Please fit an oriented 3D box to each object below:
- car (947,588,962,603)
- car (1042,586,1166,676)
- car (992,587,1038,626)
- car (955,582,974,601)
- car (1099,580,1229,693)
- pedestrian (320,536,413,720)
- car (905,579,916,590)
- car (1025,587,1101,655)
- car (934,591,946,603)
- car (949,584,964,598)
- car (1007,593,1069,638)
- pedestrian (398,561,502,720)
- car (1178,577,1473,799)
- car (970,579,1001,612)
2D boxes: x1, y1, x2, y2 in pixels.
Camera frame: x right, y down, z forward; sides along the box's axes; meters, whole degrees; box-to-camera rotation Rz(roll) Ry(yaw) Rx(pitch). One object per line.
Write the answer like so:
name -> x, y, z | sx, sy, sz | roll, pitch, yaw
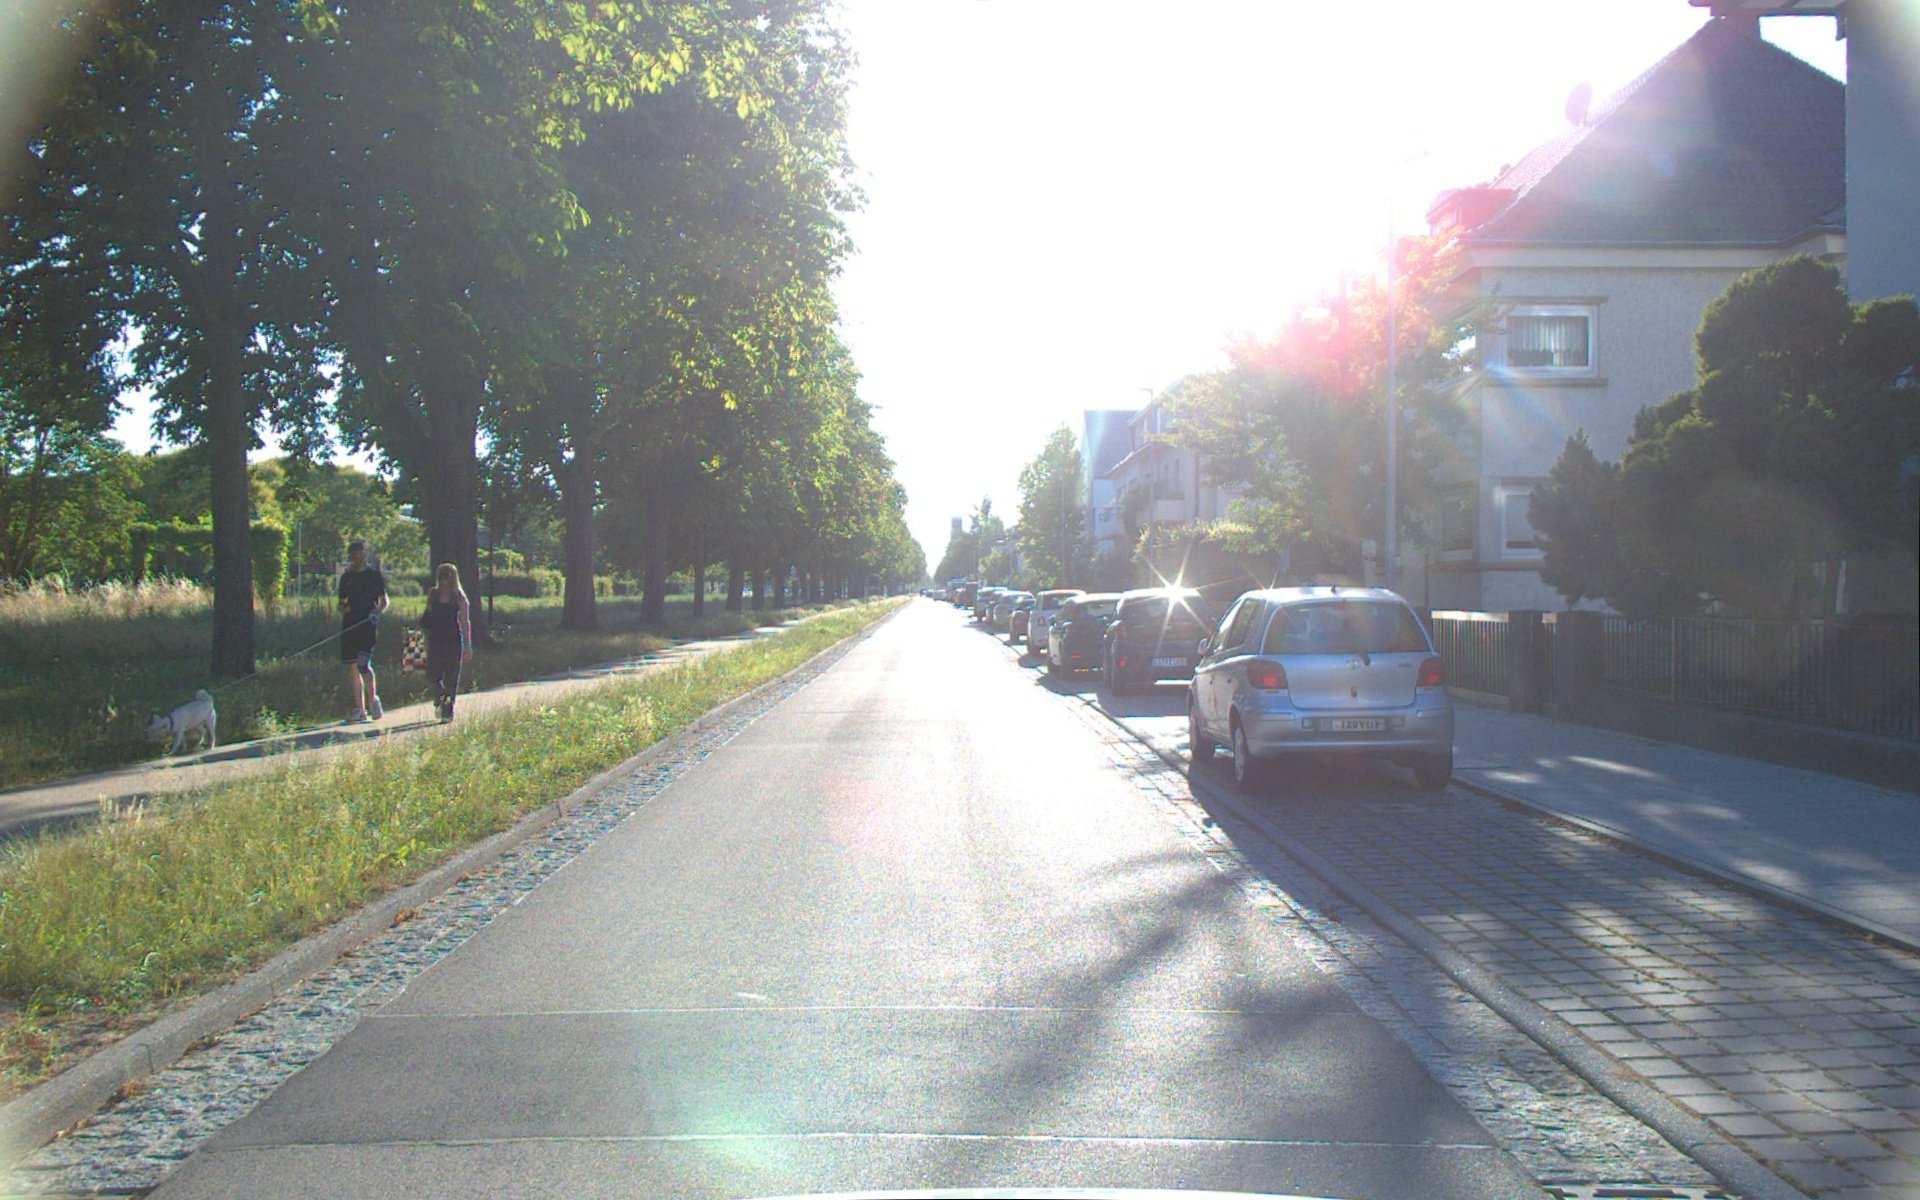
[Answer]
car -> -0.621, -0.476, 182.430 | 1.618, 1.568, 3.266 | 1, 0, 0
car -> 2.540, 0.530, 30.080 | 1.702, 1.474, 4.195 | -2, 0, -2
car -> 2.076, 0.235, 63.092 | 1.618, 1.421, 3.266 | -1, 0, 0
car -> 0.399, -0.727, 143.594 | 1.618, 1.568, 3.266 | 1, 0, 0
car -> 2.991, 0.504, 24.862 | 1.623, 1.520, 3.717 | -2, 0, 3
pedestrian -> -6.150, 0.278, 17.174 | 0.611, 1.863, 0.886 | 0, 0, 2
car -> -7.624, -2.368, 253.392 | 1.618, 1.568, 3.266 | 1, 0, -1
car -> 2.414, 0.463, 39.446 | 1.560, 1.536, 3.591 | -1, 0, 0
car -> -2.740, -0.419, 224.865 | 1.618, 1.568, 3.266 | 1, 0, -1
car -> -0.397, -0.986, 187.852 | 1.618, 1.568, 3.266 | 1, 0, 0
car -> 2.293, 0.439, 49.322 | 1.658, 1.270, 3.497 | -1, 0, 0
pedestrian -> -5.391, 0.412, 17.533 | 0.767, 1.643, 0.952 | 0, 0, 2
car -> 2.881, 0.609, 13.770 | 1.594, 1.531, 3.633 | -2, 1, 0
car -> 1.257, -0.242, 81.814 | 1.467, 1.594, 3.266 | -1, 0, 0
